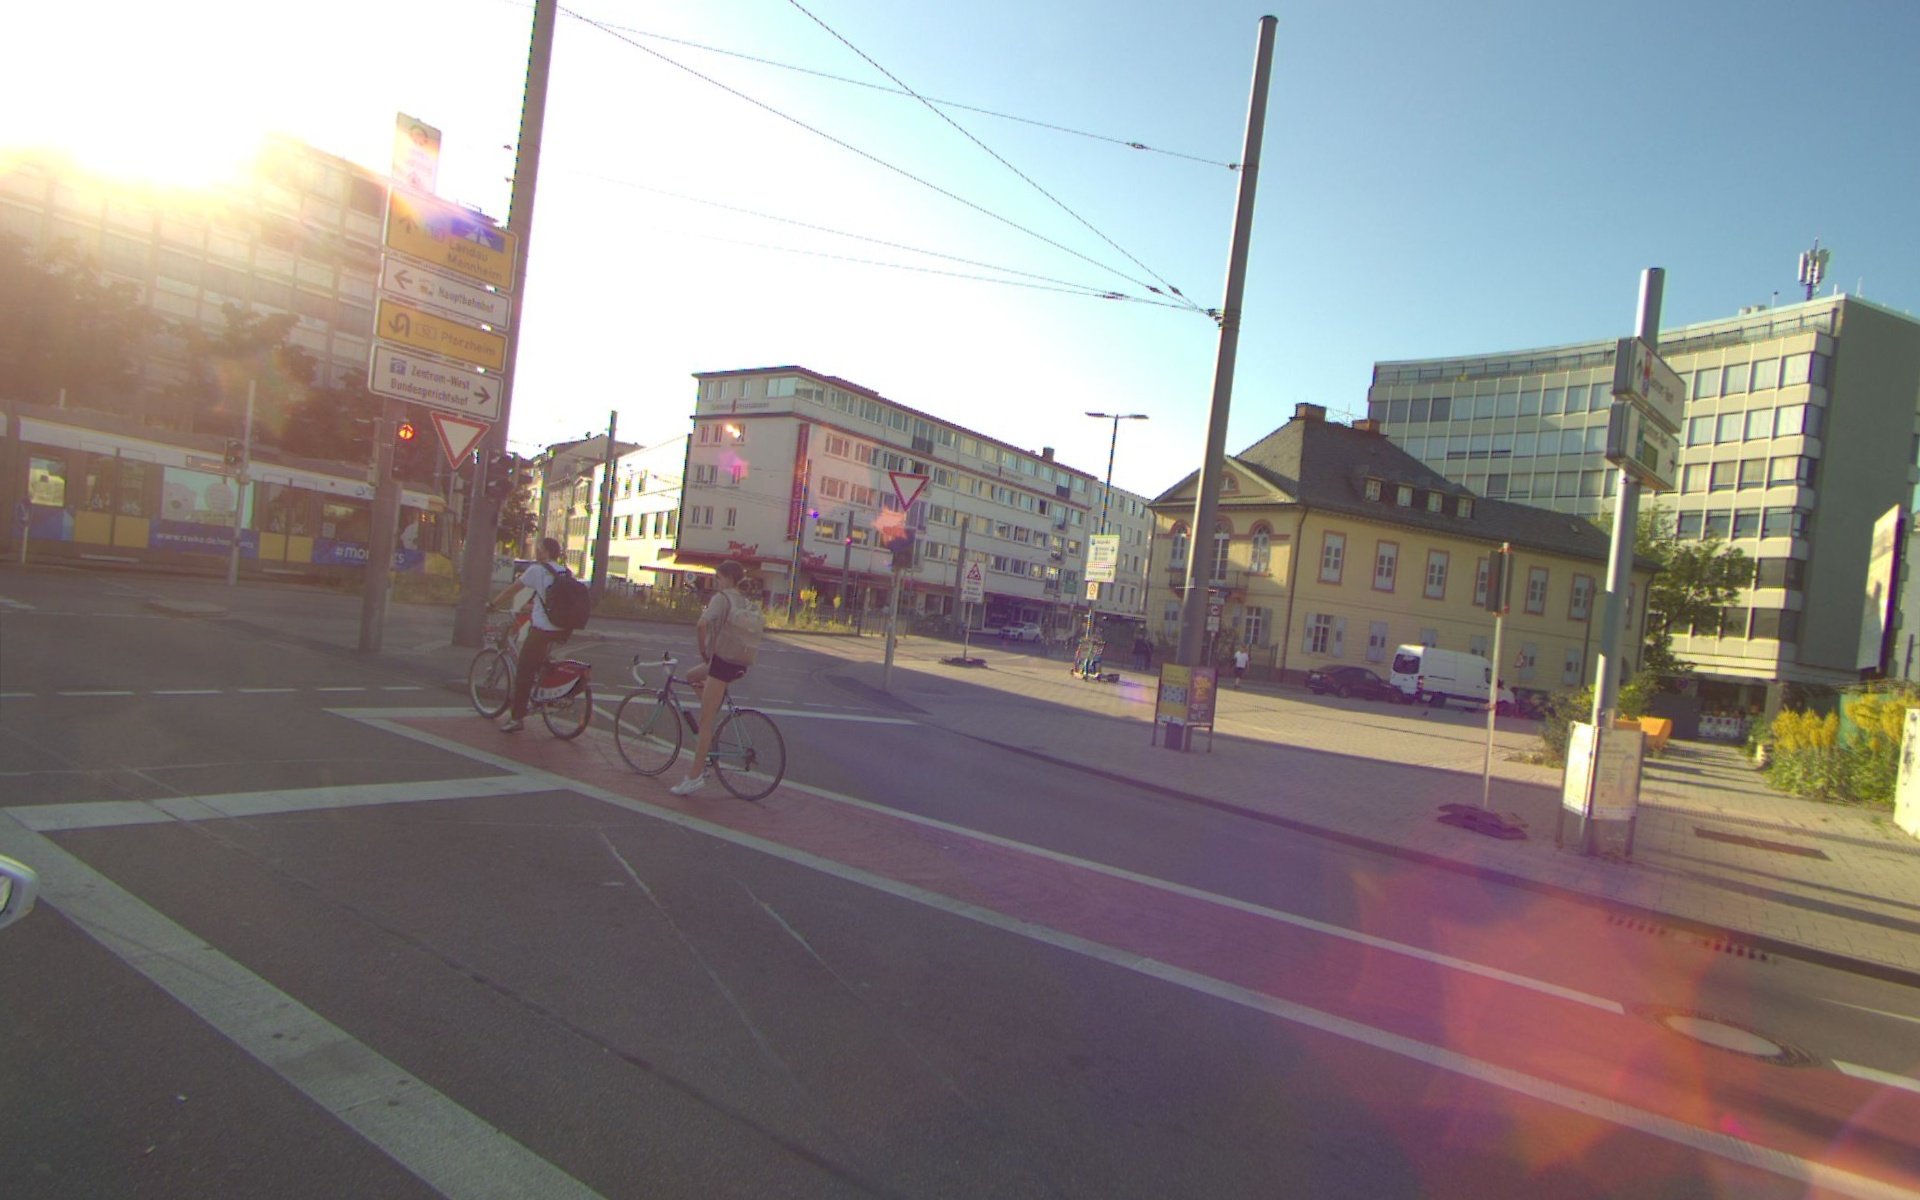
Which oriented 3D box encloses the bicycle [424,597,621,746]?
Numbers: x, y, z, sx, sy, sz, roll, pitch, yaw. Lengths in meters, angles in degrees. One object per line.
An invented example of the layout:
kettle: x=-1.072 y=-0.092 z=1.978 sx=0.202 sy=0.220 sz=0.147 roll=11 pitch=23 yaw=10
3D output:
bicycle: x=-4.033 y=0.634 z=9.240 sx=1.777 sy=1.113 sz=0.543 roll=6 pitch=-1 yaw=27

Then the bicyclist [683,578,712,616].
bicyclist: x=-13.866 y=-0.158 z=53.191 sx=0.859 sy=1.864 sz=0.997 roll=7 pitch=-1 yaw=17

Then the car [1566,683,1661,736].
car: x=31.151 y=5.206 z=47.972 sx=3.706 sy=2.003 sz=1.709 roll=8 pitch=-2 yaw=-17

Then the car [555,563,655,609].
car: x=-18.135 y=-0.690 z=51.579 sx=1.967 sy=1.669 sz=4.447 roll=6 pitch=-2 yaw=33

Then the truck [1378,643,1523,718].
truck: x=21.833 y=3.577 z=44.800 sx=5.556 sy=2.578 sz=2.294 roll=8 pitch=-2 yaw=-17

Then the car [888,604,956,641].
car: x=-2.662 y=1.627 z=71.630 sx=1.970 sy=2.036 sz=4.858 roll=6 pitch=-2 yaw=38

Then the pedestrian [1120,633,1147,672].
pedestrian: x=7.835 y=2.376 z=45.460 sx=0.804 sy=1.661 sz=0.685 roll=7 pitch=-1 yaw=-11

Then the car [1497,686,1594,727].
car: x=27.094 y=4.927 z=46.584 sx=3.706 sy=1.380 sz=1.709 roll=8 pitch=-2 yaw=-17

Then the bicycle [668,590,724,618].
bicycle: x=-13.943 y=0.205 z=53.177 sx=2.595 sy=1.124 sz=0.997 roll=7 pitch=-1 yaw=17

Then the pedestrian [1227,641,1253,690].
pedestrian: x=10.843 y=2.529 z=38.983 sx=0.746 sy=1.783 sz=1.009 roll=7 pitch=-1 yaw=16

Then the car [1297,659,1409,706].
car: x=16.622 y=3.484 z=42.585 sx=4.133 sy=1.380 sz=1.709 roll=8 pitch=-2 yaw=-17

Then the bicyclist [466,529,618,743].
bicyclist: x=-3.810 y=0.315 z=9.165 sx=1.042 sy=1.789 sz=0.543 roll=7 pitch=-1 yaw=27

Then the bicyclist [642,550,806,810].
bicyclist: x=-1.744 y=0.576 z=7.474 sx=0.778 sy=1.766 sz=0.615 roll=7 pitch=-1 yaw=27

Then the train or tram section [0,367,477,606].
train or tram section: x=-19.104 y=-2.413 z=26.598 sx=3.645 sy=3.877 sz=12.997 roll=7 pitch=-2 yaw=14

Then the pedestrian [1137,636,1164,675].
pedestrian: x=8.650 y=2.505 z=45.646 sx=0.804 sy=1.661 sz=0.685 roll=7 pitch=-1 yaw=-11

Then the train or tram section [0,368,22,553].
train or tram section: x=-19.926 y=-2.862 z=13.436 sx=3.652 sy=3.879 sz=12.965 roll=7 pitch=-1 yaw=-8

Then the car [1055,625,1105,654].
car: x=10.773 y=3.531 z=89.966 sx=1.970 sy=2.036 sz=4.858 roll=6 pitch=-2 yaw=38

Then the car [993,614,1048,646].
car: x=5.034 y=2.510 z=83.381 sx=1.970 sy=2.036 sz=4.858 roll=6 pitch=-2 yaw=38

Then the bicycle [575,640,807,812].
bicycle: x=-2.059 y=0.922 z=7.647 sx=1.664 sy=1.013 sz=0.543 roll=6 pitch=-1 yaw=27
